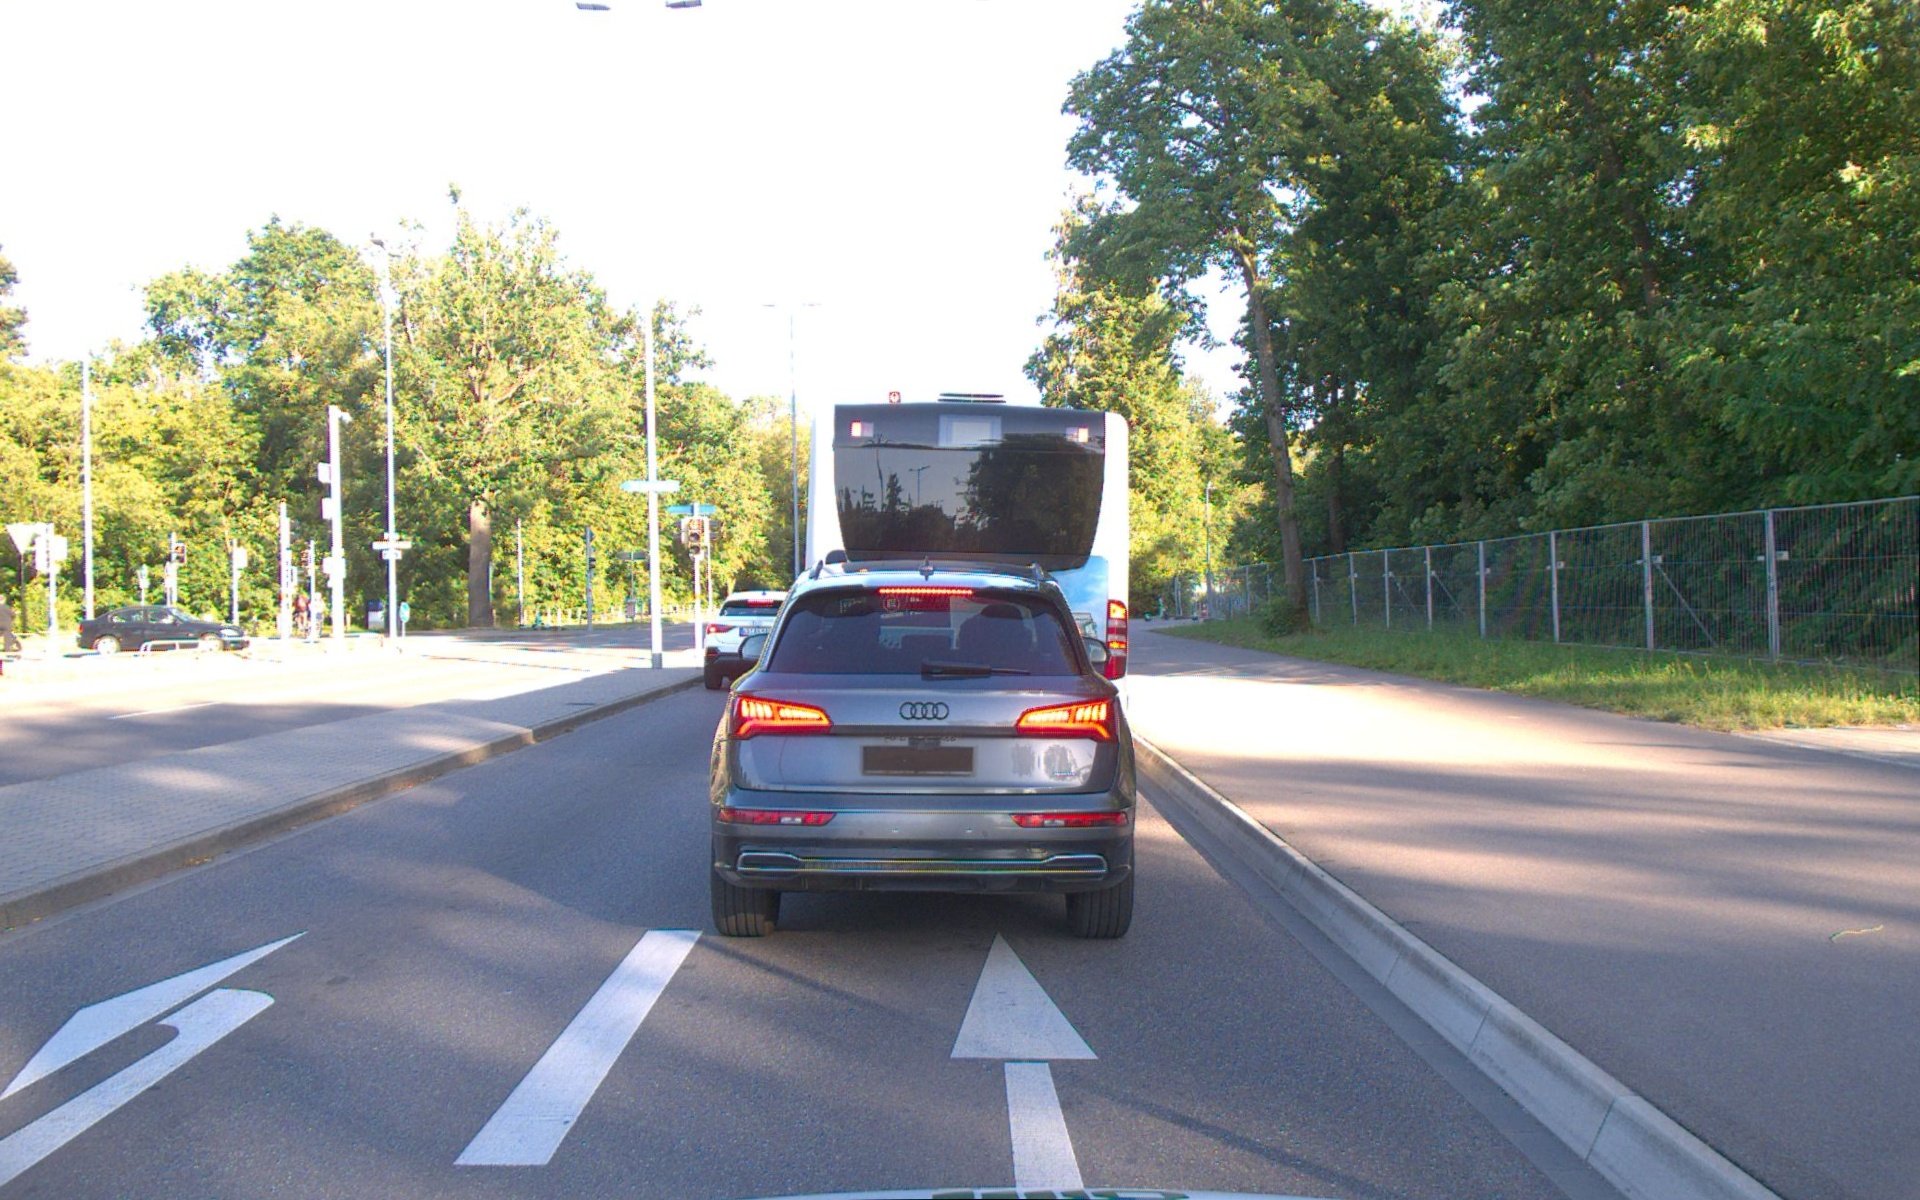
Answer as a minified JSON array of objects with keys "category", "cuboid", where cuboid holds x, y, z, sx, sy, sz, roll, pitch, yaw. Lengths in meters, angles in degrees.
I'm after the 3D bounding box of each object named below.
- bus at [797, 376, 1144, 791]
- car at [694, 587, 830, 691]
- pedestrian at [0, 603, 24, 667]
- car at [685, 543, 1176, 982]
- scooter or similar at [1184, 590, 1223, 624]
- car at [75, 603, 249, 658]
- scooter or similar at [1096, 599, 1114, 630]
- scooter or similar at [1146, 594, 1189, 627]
[{"category":"bus","cuboid":[0.015,-0.088,16.827,2.542,3.041,9.324,0,0,-1]},{"category":"car","cuboid":[-3.190,0.593,27.360,1.799,1.545,3.999,-1,0,-1]},{"category":"pedestrian","cuboid":[-24.138,0.880,41.858,0.643,1.587,0.531,-1,0,-43]},{"category":"car","cuboid":[-0.138,0.616,8.324,1.860,1.660,3.999,1,0,-1]},{"category":"scooter or similar","cuboid":[11.673,0.348,79.332,0.535,1.594,1.993,-2,0,-40]},{"category":"car","cuboid":[-22.434,0.842,46.609,4.023,1.411,1.750,-1,0,-6]},{"category":"scooter or similar","cuboid":[7.073,0.696,80.730,0.498,1.469,2.020,-2,0,-6]},{"category":"scooter or similar","cuboid":[9.805,0.506,78.006,1.991,1.469,0.601,-2,0,-26]}]
